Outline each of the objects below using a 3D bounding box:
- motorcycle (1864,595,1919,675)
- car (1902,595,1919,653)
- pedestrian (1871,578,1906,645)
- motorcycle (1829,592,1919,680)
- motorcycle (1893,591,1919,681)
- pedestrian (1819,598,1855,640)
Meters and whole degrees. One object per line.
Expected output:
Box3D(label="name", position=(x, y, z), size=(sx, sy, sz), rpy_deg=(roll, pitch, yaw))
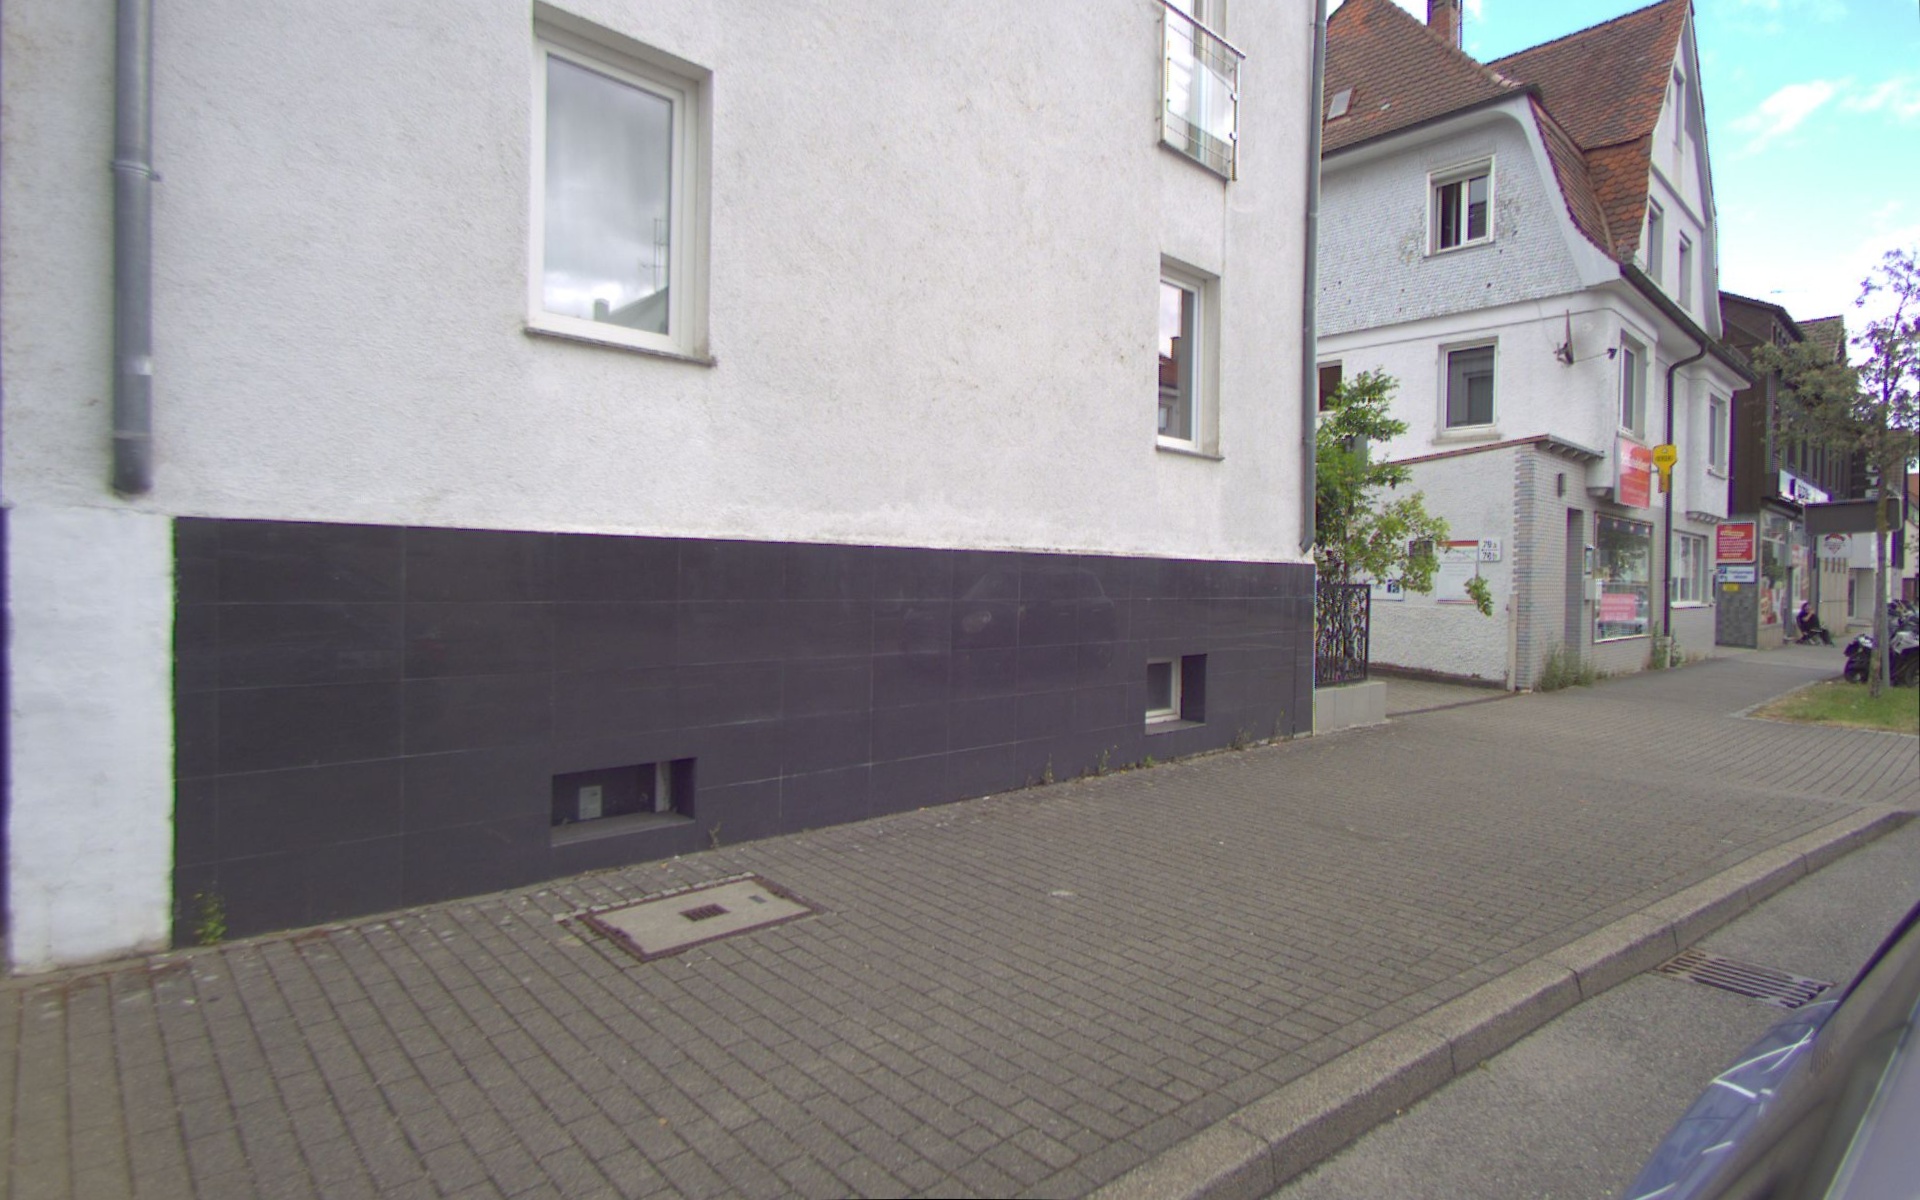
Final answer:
Box3D(label="motorcycle", position=(18.411, 0.641, 19.424), size=(2.418, 1.458, 0.651), rpy_deg=(0, 0, -24))
Box3D(label="car", position=(25.677, 0.583, 26.079), size=(4.490, 1.426, 1.826), rpy_deg=(-1, 0, -44))
Box3D(label="pedestrian", position=(25.226, 0.298, 27.513), size=(0.641, 1.762, 0.731), rpy_deg=(2, 2, 42))
Box3D(label="motorcycle", position=(15.802, 0.564, 17.022), size=(0.763, 1.399, 2.237), rpy_deg=(0, 0, 10))
Box3D(label="motorcycle", position=(17.582, 0.616, 18.230), size=(2.549, 1.544, 0.673), rpy_deg=(0, 0, -36))
Box3D(label="pedestrian", position=(26.635, 0.564, 30.735), size=(0.633, 1.226, 0.741), rpy_deg=(0, 2, -43))
